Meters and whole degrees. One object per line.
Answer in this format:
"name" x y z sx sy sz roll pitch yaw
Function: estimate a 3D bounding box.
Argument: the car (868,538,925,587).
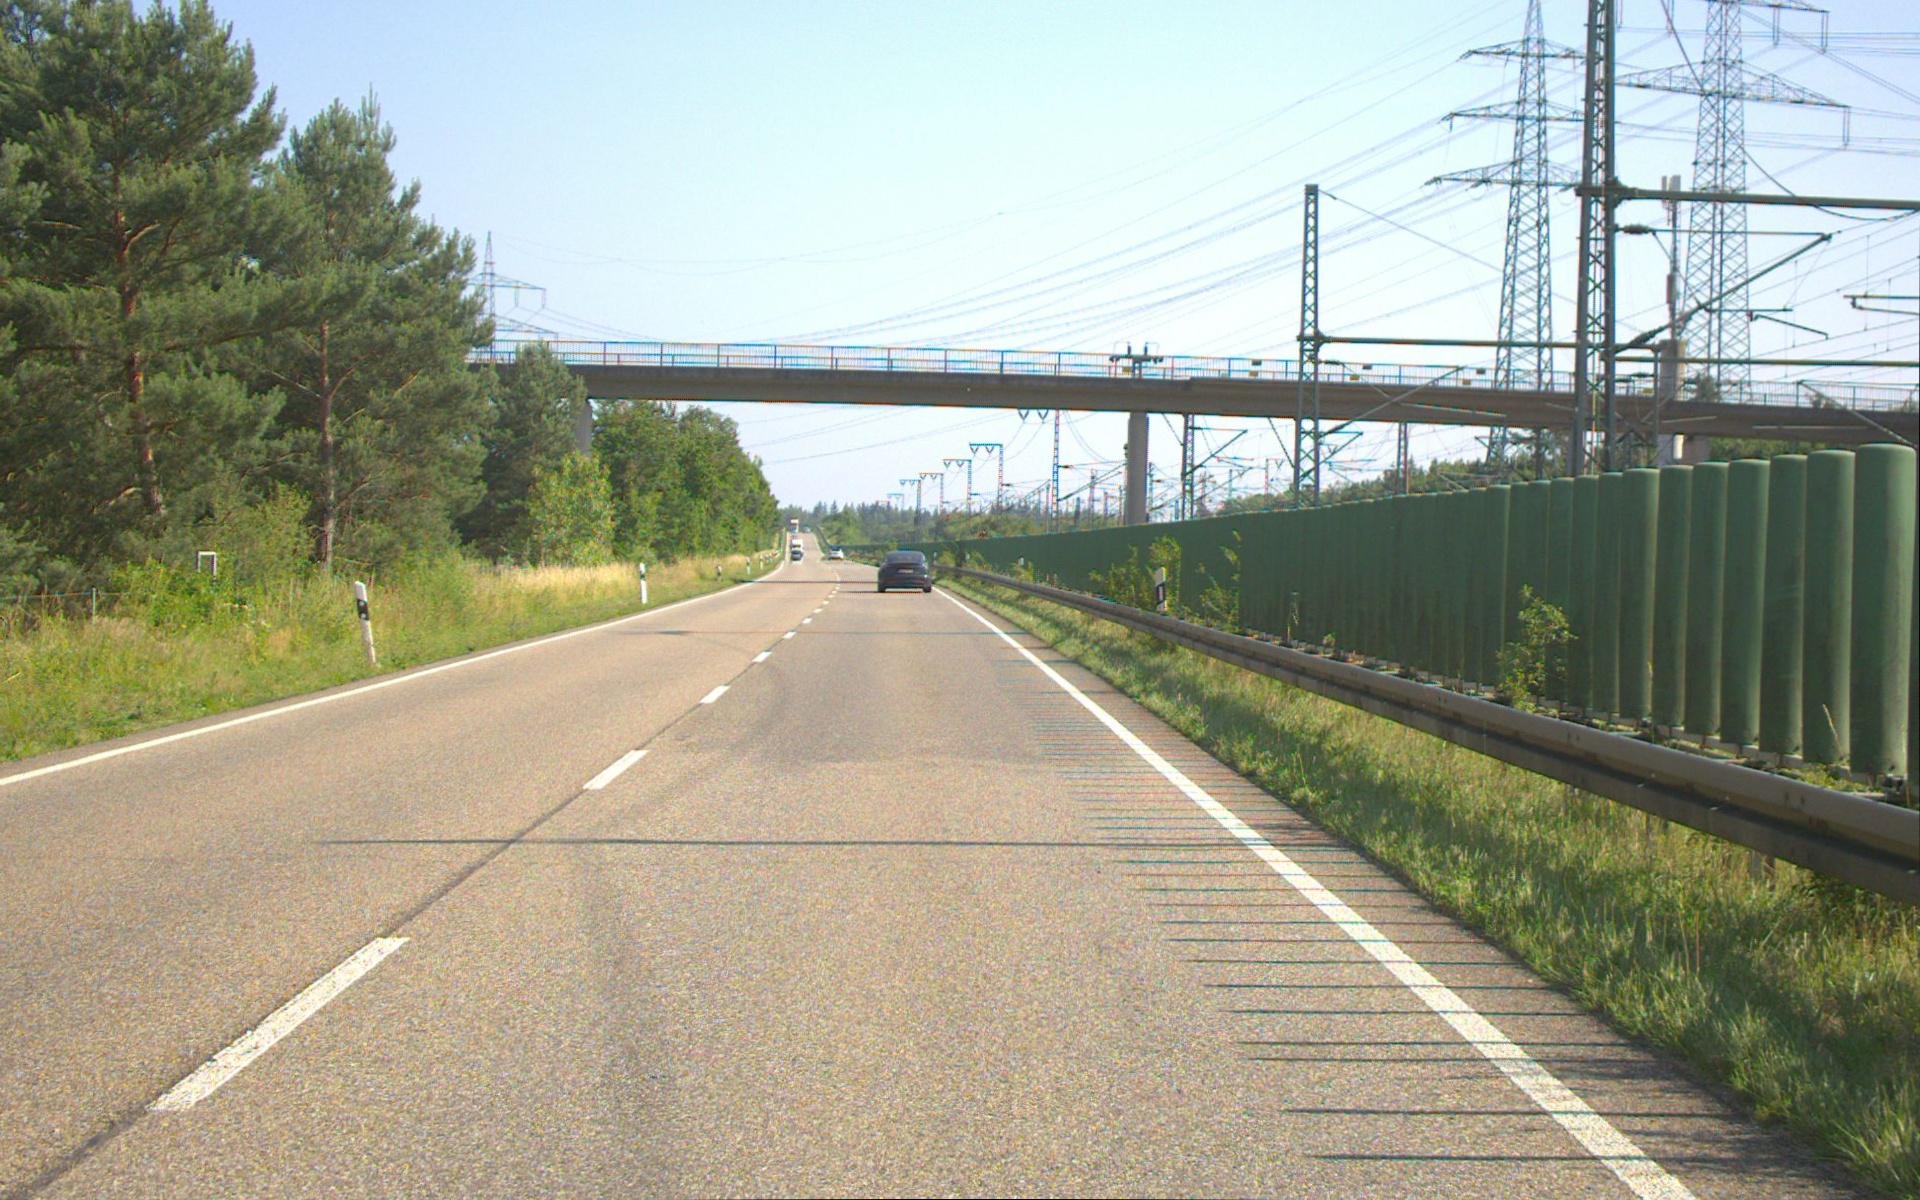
"car" -2.218 -1.307 119.209 1.858 1.636 4.001 -1 1 -2
